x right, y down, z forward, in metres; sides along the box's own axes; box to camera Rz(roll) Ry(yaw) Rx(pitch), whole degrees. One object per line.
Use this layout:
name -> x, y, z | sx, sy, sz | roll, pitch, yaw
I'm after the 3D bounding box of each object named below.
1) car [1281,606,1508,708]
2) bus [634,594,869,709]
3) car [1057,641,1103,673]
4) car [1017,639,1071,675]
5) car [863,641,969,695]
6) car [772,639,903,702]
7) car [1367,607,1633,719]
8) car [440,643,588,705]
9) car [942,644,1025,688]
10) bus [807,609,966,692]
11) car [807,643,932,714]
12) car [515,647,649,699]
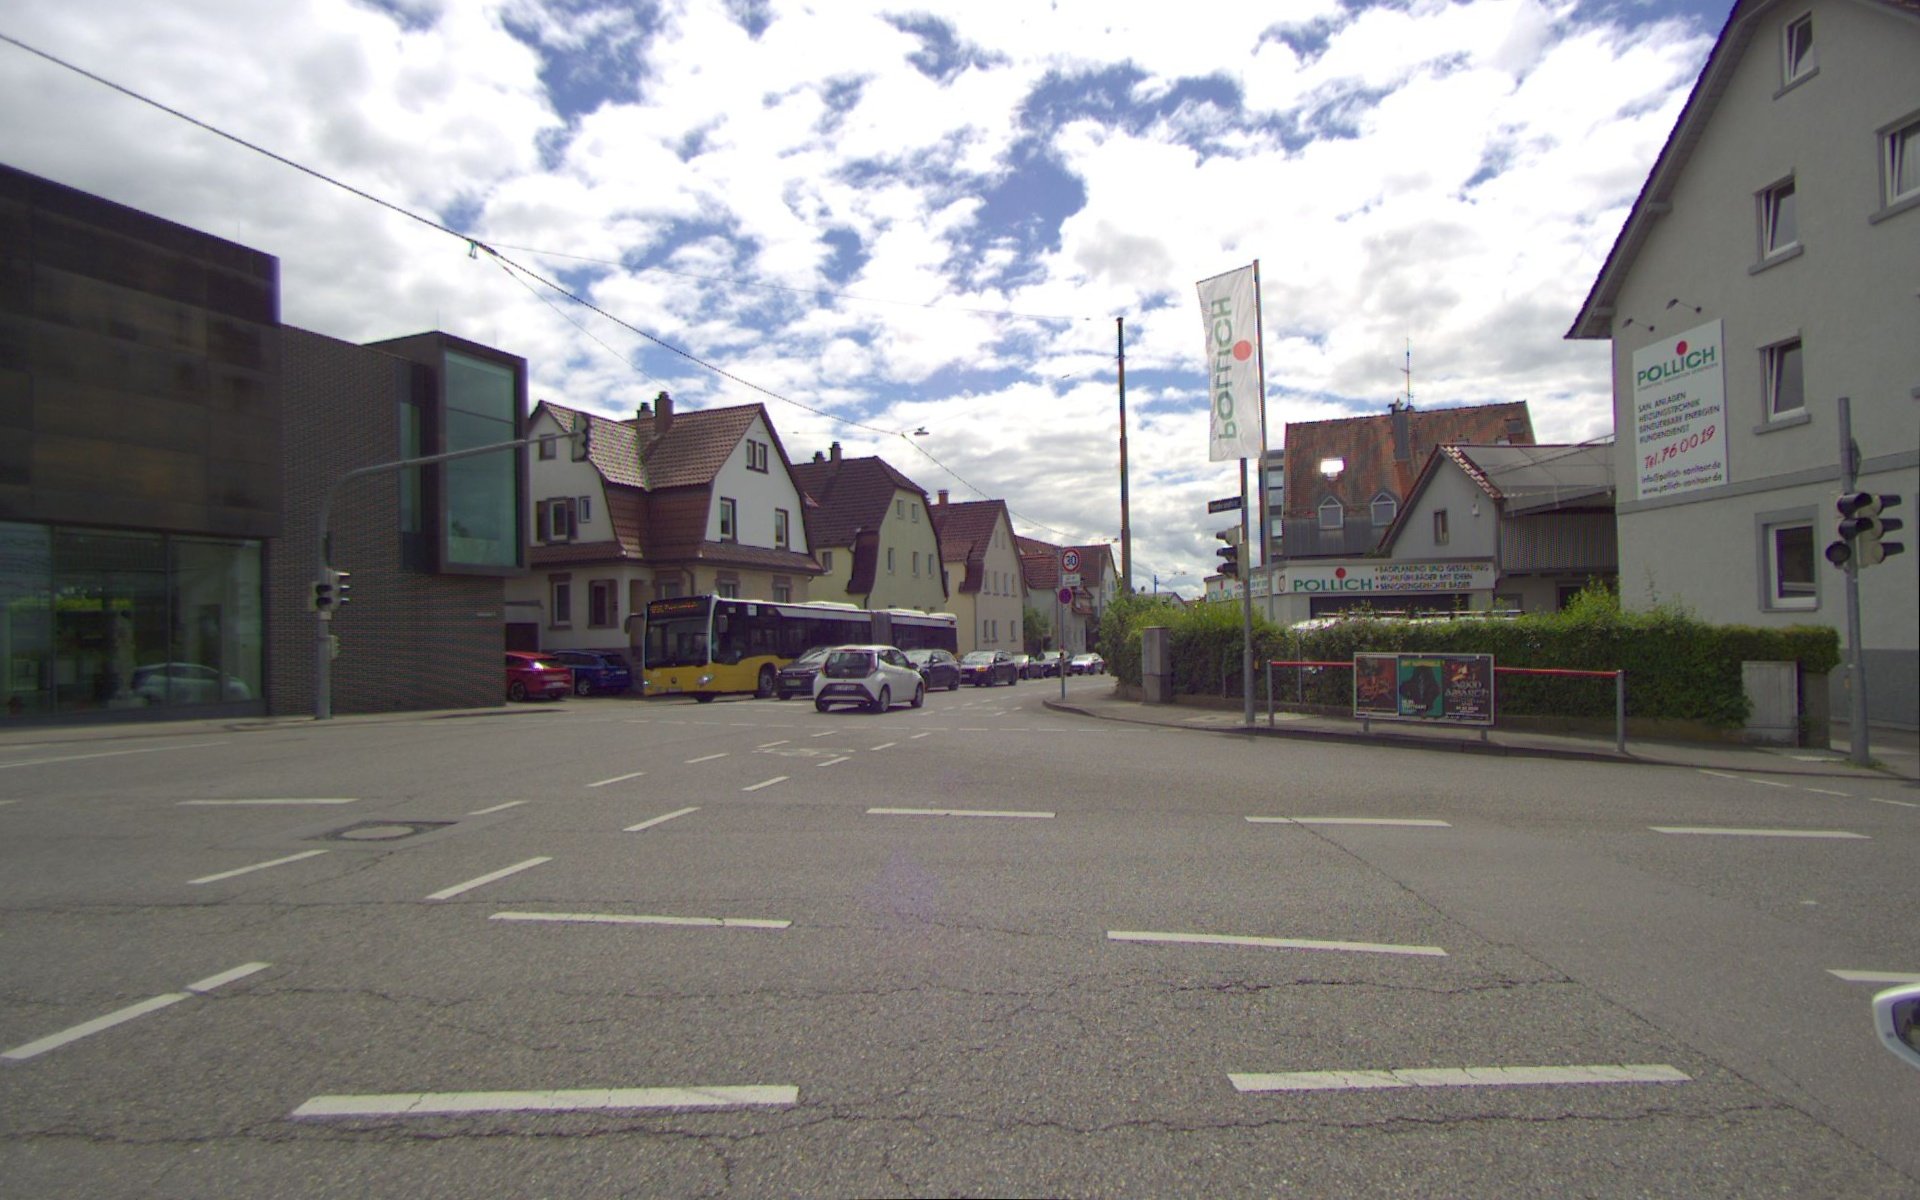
car -> 9.129, 1.192, 21.346 | 3.922, 2.040, 2.000 | 0, -2, -2
bus -> -6.135, 1.569, 31.762 | 2.733, 3.100, 9.190 | -1, -2, 21
car -> 8.095, 3.795, 67.443 | 1.962, 2.040, 3.998 | -1, -2, 23
car -> 5.132, 3.412, 60.750 | 1.963, 2.040, 3.997 | -1, -2, 26
car -> -1.388, 2.221, 33.779 | 1.962, 1.661, 4.182 | -1, -2, 23
car -> -3.368, 1.924, 28.437 | 1.962, 1.661, 3.999 | -1, -2, 23
car -> 10.048, 1.164, 18.910 | 3.923, 1.973, 2.000 | 0, -3, -3
car -> -14.097, 2.295, 31.776 | 3.921, 1.661, 2.000 | 2, -1, 20
car -> 0.990, 2.589, 40.072 | 1.962, 1.661, 3.999 | -1, -2, 23
bus -> -2.651, 1.990, 40.468 | 2.733, 2.953, 9.190 | -1, -2, 21
car -> -1.987, 1.738, 23.110 | 1.709, 1.479, 3.534 | -1, -2, 16
car -> -13.006, 2.476, 34.615 | 3.921, 1.706, 2.000 | -1, -2, 19
